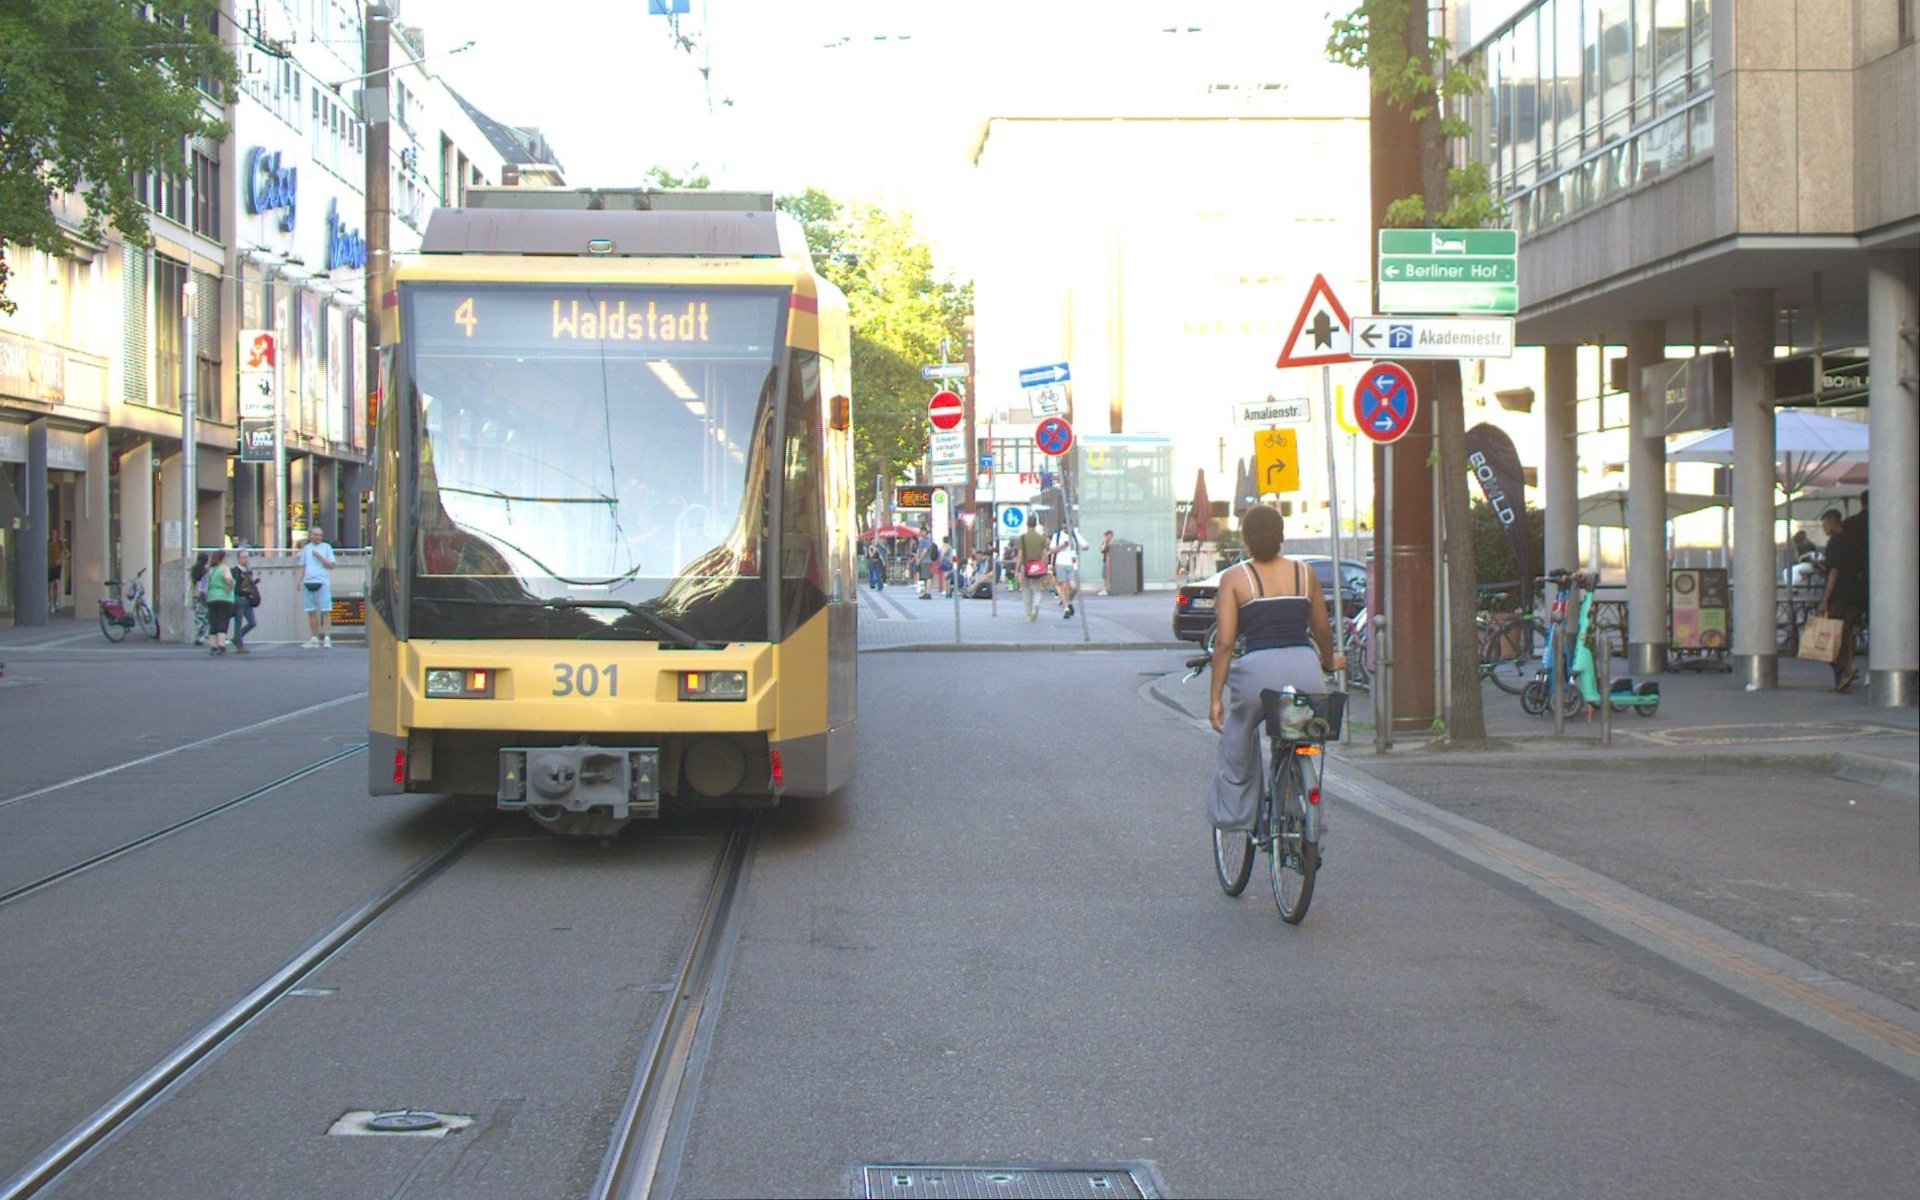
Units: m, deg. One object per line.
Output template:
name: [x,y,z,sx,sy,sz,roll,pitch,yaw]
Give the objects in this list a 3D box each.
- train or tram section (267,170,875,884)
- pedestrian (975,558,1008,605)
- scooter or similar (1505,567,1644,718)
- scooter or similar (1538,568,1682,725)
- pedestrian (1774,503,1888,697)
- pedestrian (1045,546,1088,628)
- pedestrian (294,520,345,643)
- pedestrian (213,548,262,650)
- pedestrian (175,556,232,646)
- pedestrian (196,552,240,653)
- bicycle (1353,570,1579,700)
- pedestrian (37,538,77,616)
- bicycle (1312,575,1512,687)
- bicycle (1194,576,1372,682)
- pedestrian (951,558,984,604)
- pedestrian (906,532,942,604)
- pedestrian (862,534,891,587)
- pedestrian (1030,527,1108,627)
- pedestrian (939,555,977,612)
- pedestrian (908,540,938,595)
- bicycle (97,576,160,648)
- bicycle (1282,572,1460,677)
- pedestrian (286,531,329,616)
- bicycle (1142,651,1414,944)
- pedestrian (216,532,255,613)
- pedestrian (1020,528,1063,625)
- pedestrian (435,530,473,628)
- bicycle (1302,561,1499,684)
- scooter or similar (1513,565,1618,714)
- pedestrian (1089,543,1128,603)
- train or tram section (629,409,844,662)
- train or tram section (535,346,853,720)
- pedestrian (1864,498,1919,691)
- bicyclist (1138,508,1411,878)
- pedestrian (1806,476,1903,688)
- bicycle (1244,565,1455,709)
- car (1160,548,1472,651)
train or tram section: [-2.080,-0.465,23.222,2.800,3.308,14.510,0,1,-2]
pedestrian: [0.827,-0.497,90.898,0.792,1.217,0.769,0,1,-5]
scooter or similar: [5.271,0.355,29.465,1.187,1.247,0.393,-2,2,-31]
scooter or similar: [5.409,0.376,28.601,1.112,1.247,0.497,-2,2,-32]
pedestrian: [7.889,-0.001,31.155,0.763,1.713,0.923,-1,0,0]
pedestrian: [2.370,-0.302,76.601,0.733,1.817,0.820,0,1,-16]
pedestrian: [-10.083,-0.284,54.115,0.773,1.919,0.709,0,0,-10]
pedestrian: [-10.990,-0.021,52.311,0.684,1.536,0.605,0,0,-9]
pedestrian: [-12.085,0.014,54.916,0.555,1.429,0.684,0,0,36]
pedestrian: [-11.113,0.037,51.501,0.603,1.489,0.555,0,0,-10]
bicycle: [4.861,0.326,33.095,1.995,1.151,0.726,-2,1,-6]
pedestrian: [-19.992,-0.502,76.124,0.713,1.719,0.709,0,0,-3]
bicycle: [4.727,0.320,36.029,1.914,1.074,0.763,-2,1,-6]
bicycle: [3.575,0.314,38.107,1.852,1.105,0.667,-2,1,-4]
pedestrian: [0.197,-0.510,91.686,0.792,1.217,0.769,0,1,-5]
pedestrian: [-0.929,-0.812,87.738,0.733,1.817,0.820,0,1,-16]
pedestrian: [-2.608,-1.252,107.641,0.767,1.655,0.794,0,1,10]
pedestrian: [2.022,-0.426,64.031,1.013,1.857,1.042,0,0,-34]
pedestrian: [-0.056,-0.458,95.876,0.768,1.573,0.793,0,1,28]
pedestrian: [-1.121,-0.979,103.899,0.792,1.655,0.769,0,1,10]
bicycle: [-13.628,0.191,56.361,0.498,1.104,1.800,0,2,3]
bicycle: [4.577,0.272,38.351,1.852,1.105,0.667,-2,1,-4]
pedestrian: [-13.356,-0.535,70.381,0.605,1.719,0.626,-1,0,45]
bicycle: [1.310,0.795,14.595,0.815,1.069,2.114,1,1,-3]
pedestrian: [-15.557,-0.583,73.836,0.713,1.719,0.709,0,0,-3]
pedestrian: [1.456,-0.419,61.386,0.718,1.719,0.709,0,0,-2]
pedestrian: [-9.991,-0.413,67.854,0.713,1.918,0.709,0,0,-7]
bicycle: [4.705,0.231,36.775,1.914,1.218,0.763,-2,1,-6]
scooter or similar: [5.306,0.334,30.074,0.393,1.247,1.189,0,2,37]
pedestrian: [4.116,-0.758,95.291,0.767,1.655,0.794,-1,1,-43]
train or tram section: [-3.200,-0.965,52.272,2.800,3.308,14.510,0,1,-2]
train or tram section: [-2.636,-0.717,37.737,2.800,3.308,14.510,0,1,-2]
pedestrian: [8.879,-0.058,32.061,0.663,1.781,0.719,-1,0,-1]
bicyclist: [1.312,0.375,14.519,0.997,1.497,0.857,1,1,-3]
pedestrian: [8.616,-0.172,33.145,0.686,2.007,0.783,-1,1,-1]
bicycle: [3.845,0.355,34.000,1.914,1.328,0.726,-2,1,-6]
car: [5.028,0.011,48.495,4.038,1.404,1.776,0,0,-26]
